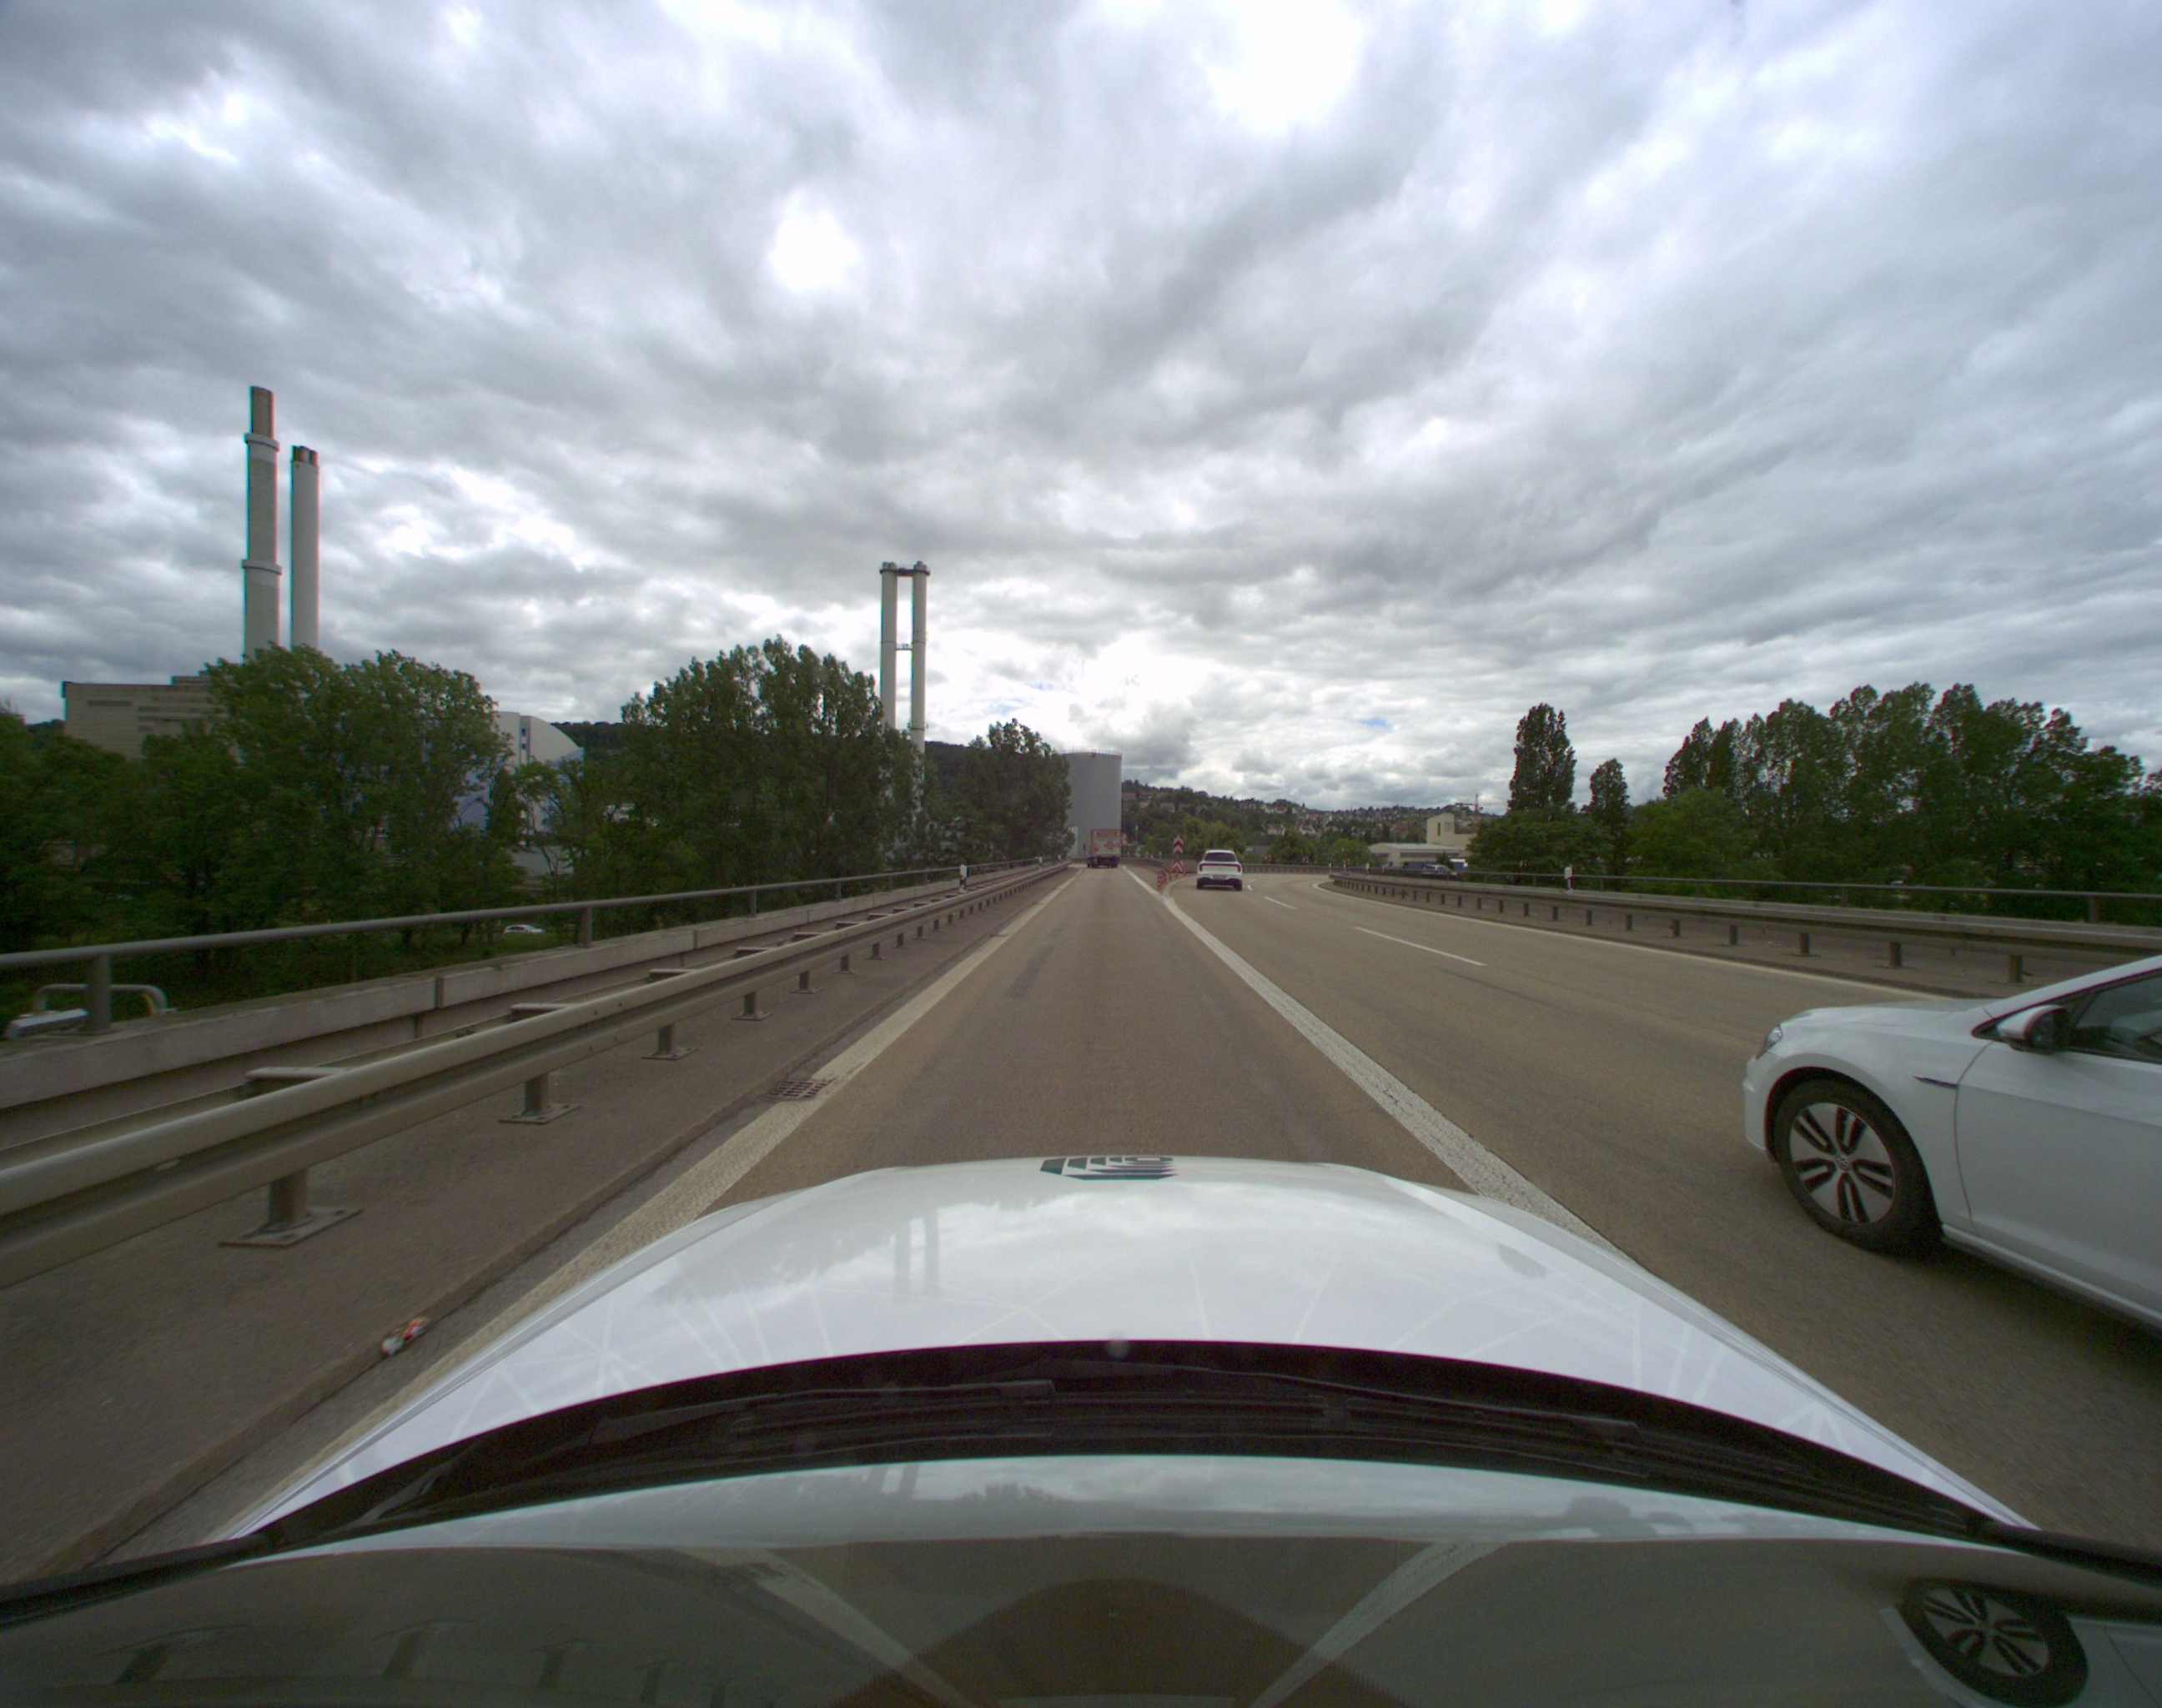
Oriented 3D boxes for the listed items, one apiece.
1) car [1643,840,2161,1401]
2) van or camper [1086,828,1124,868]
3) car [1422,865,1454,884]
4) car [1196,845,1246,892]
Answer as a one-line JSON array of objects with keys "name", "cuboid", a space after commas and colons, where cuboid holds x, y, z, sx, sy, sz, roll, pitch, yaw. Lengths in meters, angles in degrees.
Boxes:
[{"name": "car", "cuboid": [3.723, 0.702, 2.106, 1.748, 1.451, 4.072, -2, 0, 1]}, {"name": "van or camper", "cuboid": [2.192, -0.537, 76.848, 3.113, 3.579, 8.544, -1, 0, -1]}, {"name": "car", "cuboid": [36.679, 2.116, 83.623, 1.905, 1.785, 4.139, -1, 0, 39]}, {"name": "car", "cuboid": [5.955, 0.581, 34.833, 1.913, 1.785, 4.123, 3, 1, 9]}]
